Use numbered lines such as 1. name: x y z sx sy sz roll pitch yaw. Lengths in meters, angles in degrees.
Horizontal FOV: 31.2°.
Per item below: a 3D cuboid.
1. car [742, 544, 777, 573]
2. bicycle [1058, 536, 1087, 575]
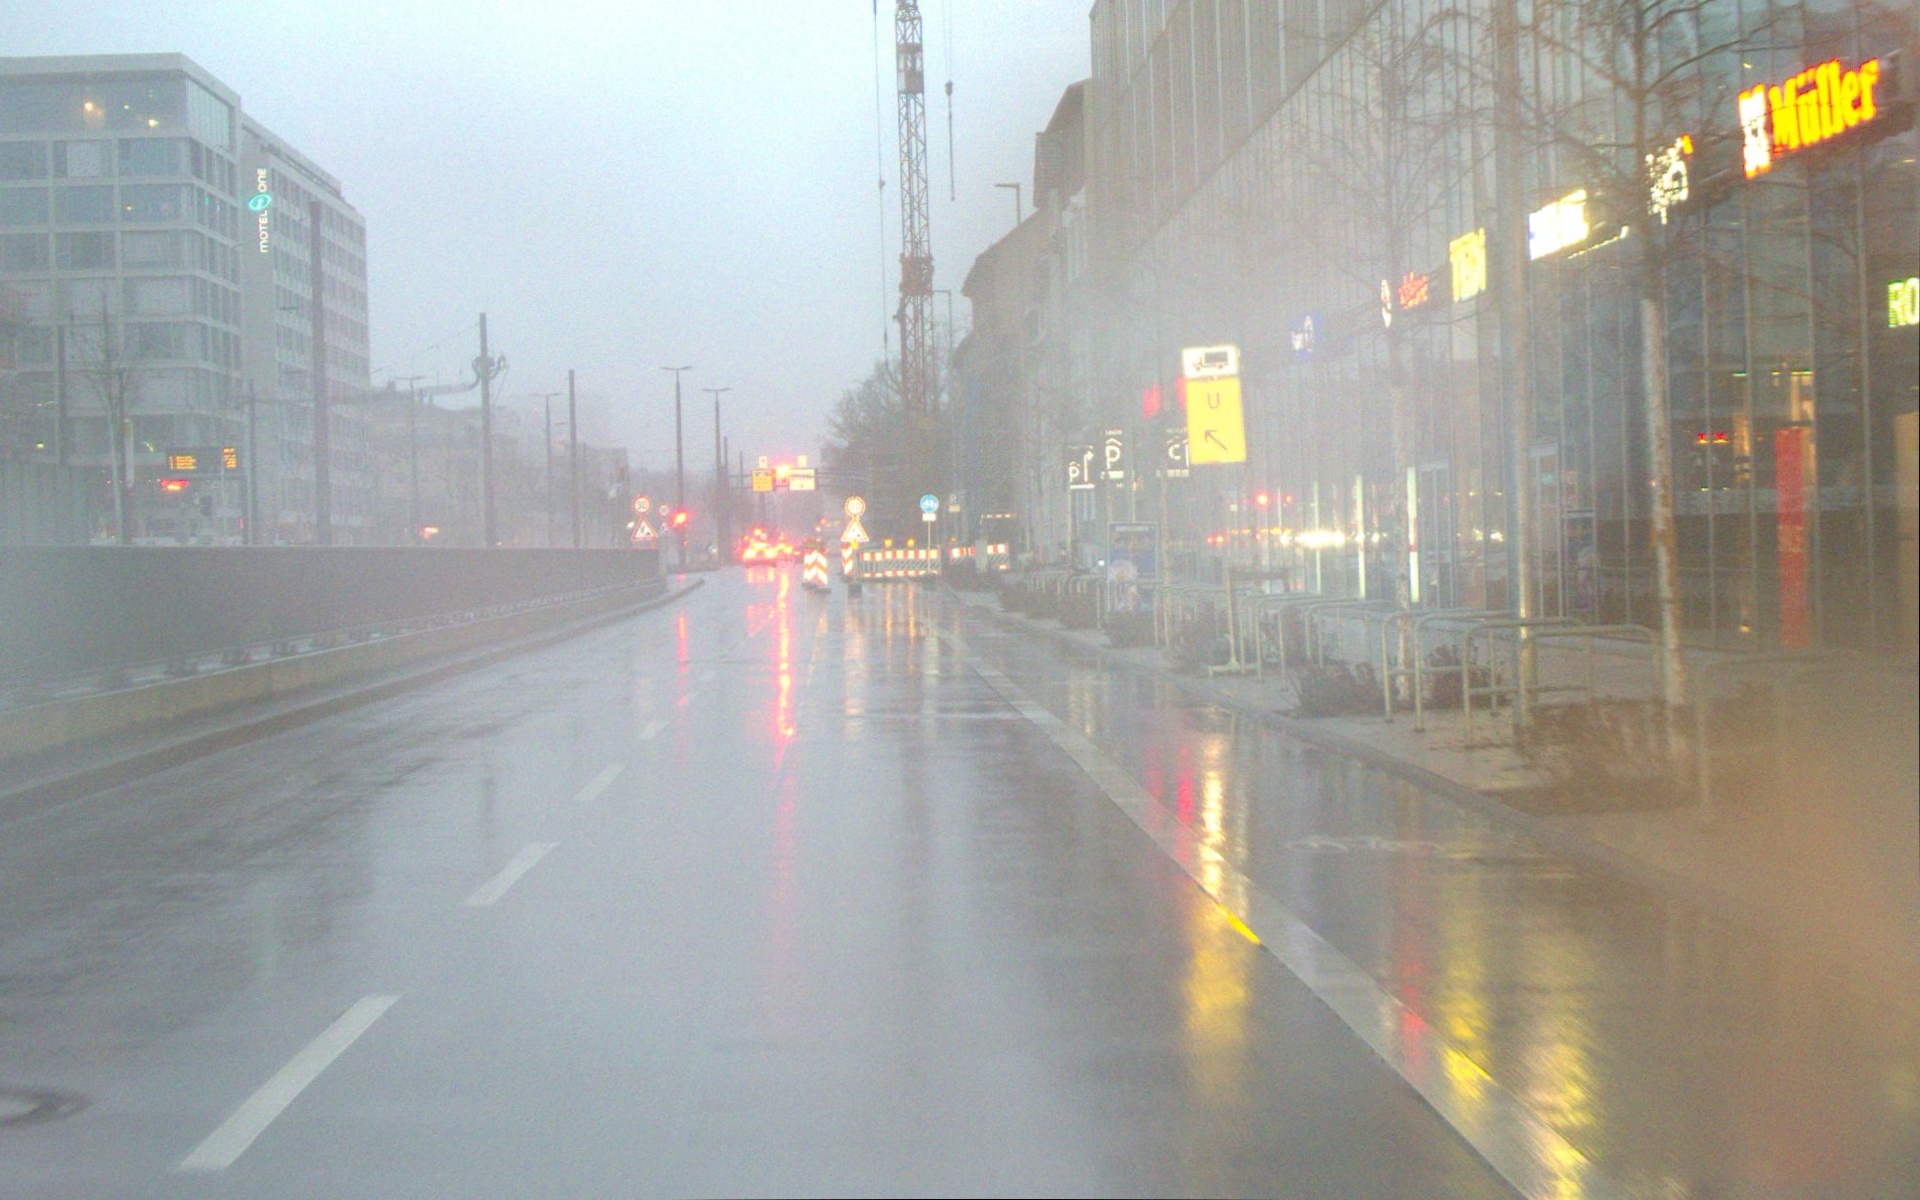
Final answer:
1. car: -11.650 -2.440 200.176 1.901 1.636 4.000 -1 1 -2
2. bicycle: 3.647 -1.446 111.594 0.682 1.218 1.906 -4 1 -3
